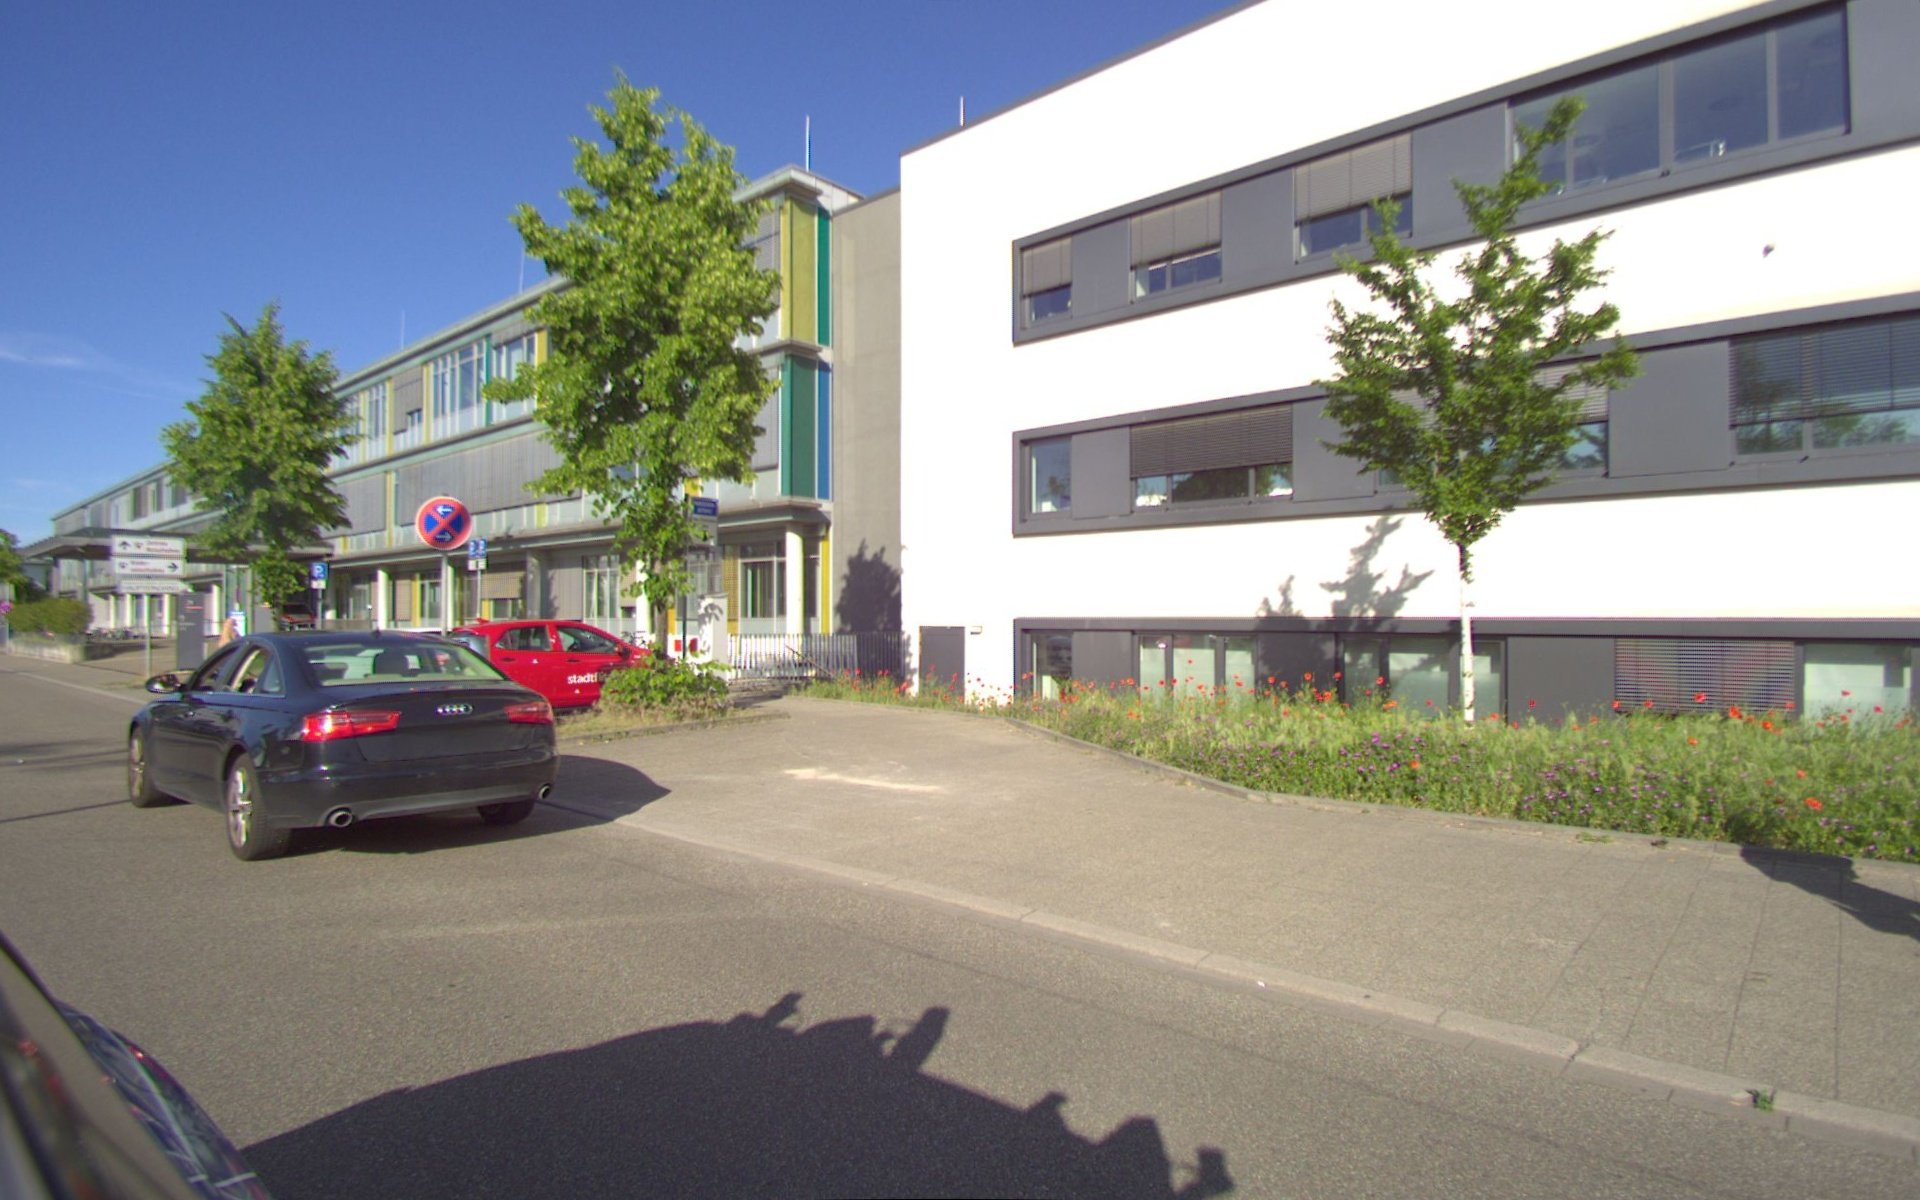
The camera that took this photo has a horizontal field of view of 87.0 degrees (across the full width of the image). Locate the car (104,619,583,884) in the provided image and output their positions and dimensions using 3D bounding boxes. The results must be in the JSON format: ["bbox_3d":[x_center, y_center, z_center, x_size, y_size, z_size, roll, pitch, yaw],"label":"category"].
[{"bbox_3d":[-4.866,0.888,7.693,4.533,1.453,1.744,-1,-2,40],"label":"car"}]

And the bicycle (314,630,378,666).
[{"bbox_3d":[-19.730,1.539,32.548,1.682,1.130,0.537,1,-2,-43],"label":"bicycle"}]

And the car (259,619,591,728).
[{"bbox_3d":[-8.526,1.081,16.452,1.700,1.377,4.461,-2,0,44],"label":"car"}]

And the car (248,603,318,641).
[{"bbox_3d":[-35.243,1.178,52.645,4.709,1.905,1.899,-2,-2,42],"label":"car"}]

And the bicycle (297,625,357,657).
[{"bbox_3d":[-21.960,1.410,35.133,0.536,1.063,1.698,-2,-2,40],"label":"bicycle"}]

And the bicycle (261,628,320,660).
[{"bbox_3d":[-24.192,1.575,36.584,0.534,1.132,1.702,-1,-2,32],"label":"bicycle"}]

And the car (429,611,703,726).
[{"bbox_3d":[-6.021,0.973,15.667,3.590,1.480,1.616,-1,-1,-42],"label":"car"}]

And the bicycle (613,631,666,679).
[{"bbox_3d":[-7.809,1.328,24.614,1.763,1.132,0.415,-2,-2,43],"label":"bicycle"}]

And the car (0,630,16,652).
[{"bbox_3d":[-66.956,2.805,68.693,1.752,1.478,4.089,-2,-1,40],"label":"car"}]

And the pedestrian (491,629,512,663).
[{"bbox_3d":[-16.200,1.628,35.757,0.556,1.182,0.526,-2,-2,43],"label":"pedestrian"}]

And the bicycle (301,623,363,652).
[{"bbox_3d":[-21.261,1.264,34.290,0.536,0.981,1.698,-2,-2,40],"label":"bicycle"}]

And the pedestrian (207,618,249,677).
[{"bbox_3d":[-20.414,1.306,28.217,0.780,1.561,0.764,-1,1,42],"label":"pedestrian"}]
